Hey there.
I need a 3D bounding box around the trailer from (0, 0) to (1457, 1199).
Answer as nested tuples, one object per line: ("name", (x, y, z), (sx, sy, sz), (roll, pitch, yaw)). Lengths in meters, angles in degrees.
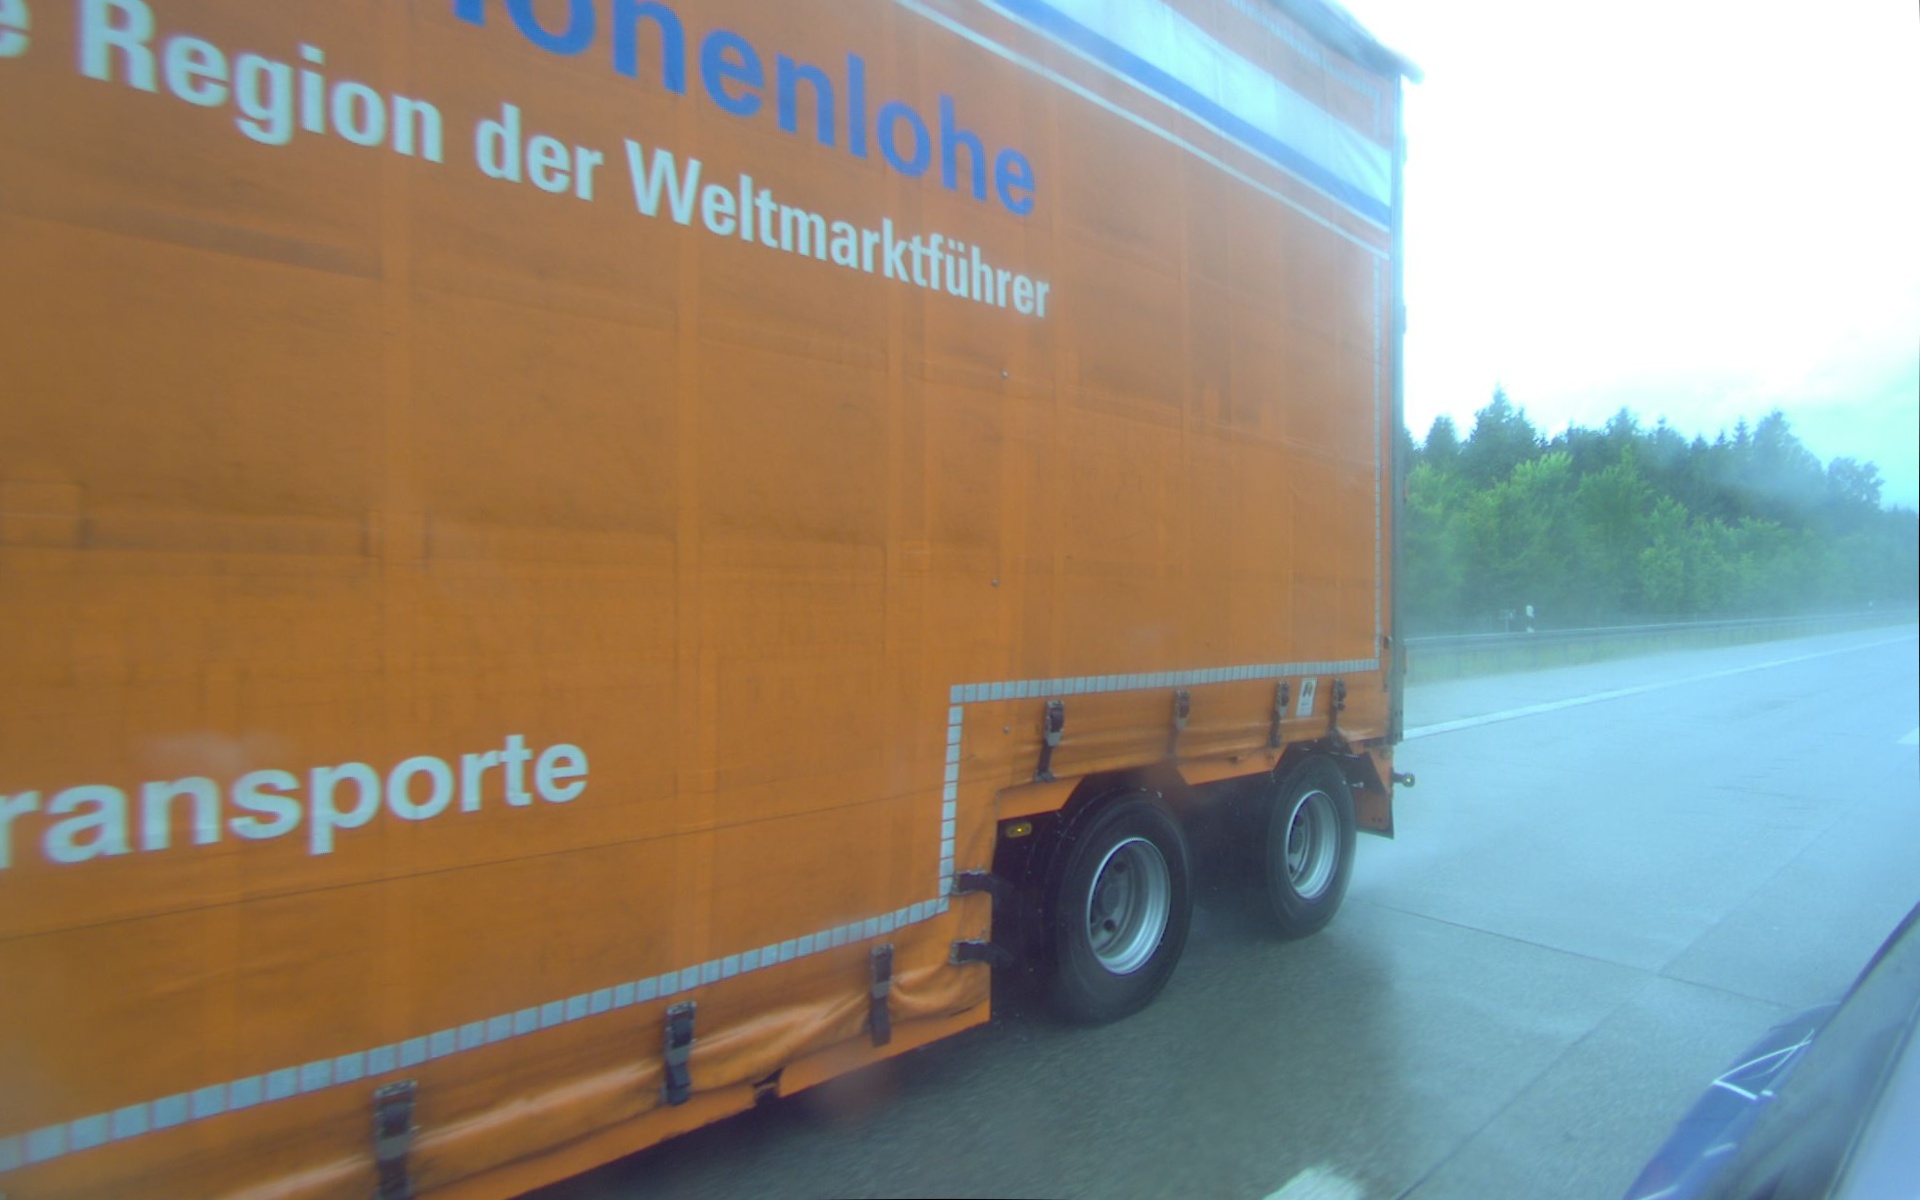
("trailer", (-3.508, -0.613, 1.360), (12.779, 4.209, 2.799), (-1, 0, -41))
